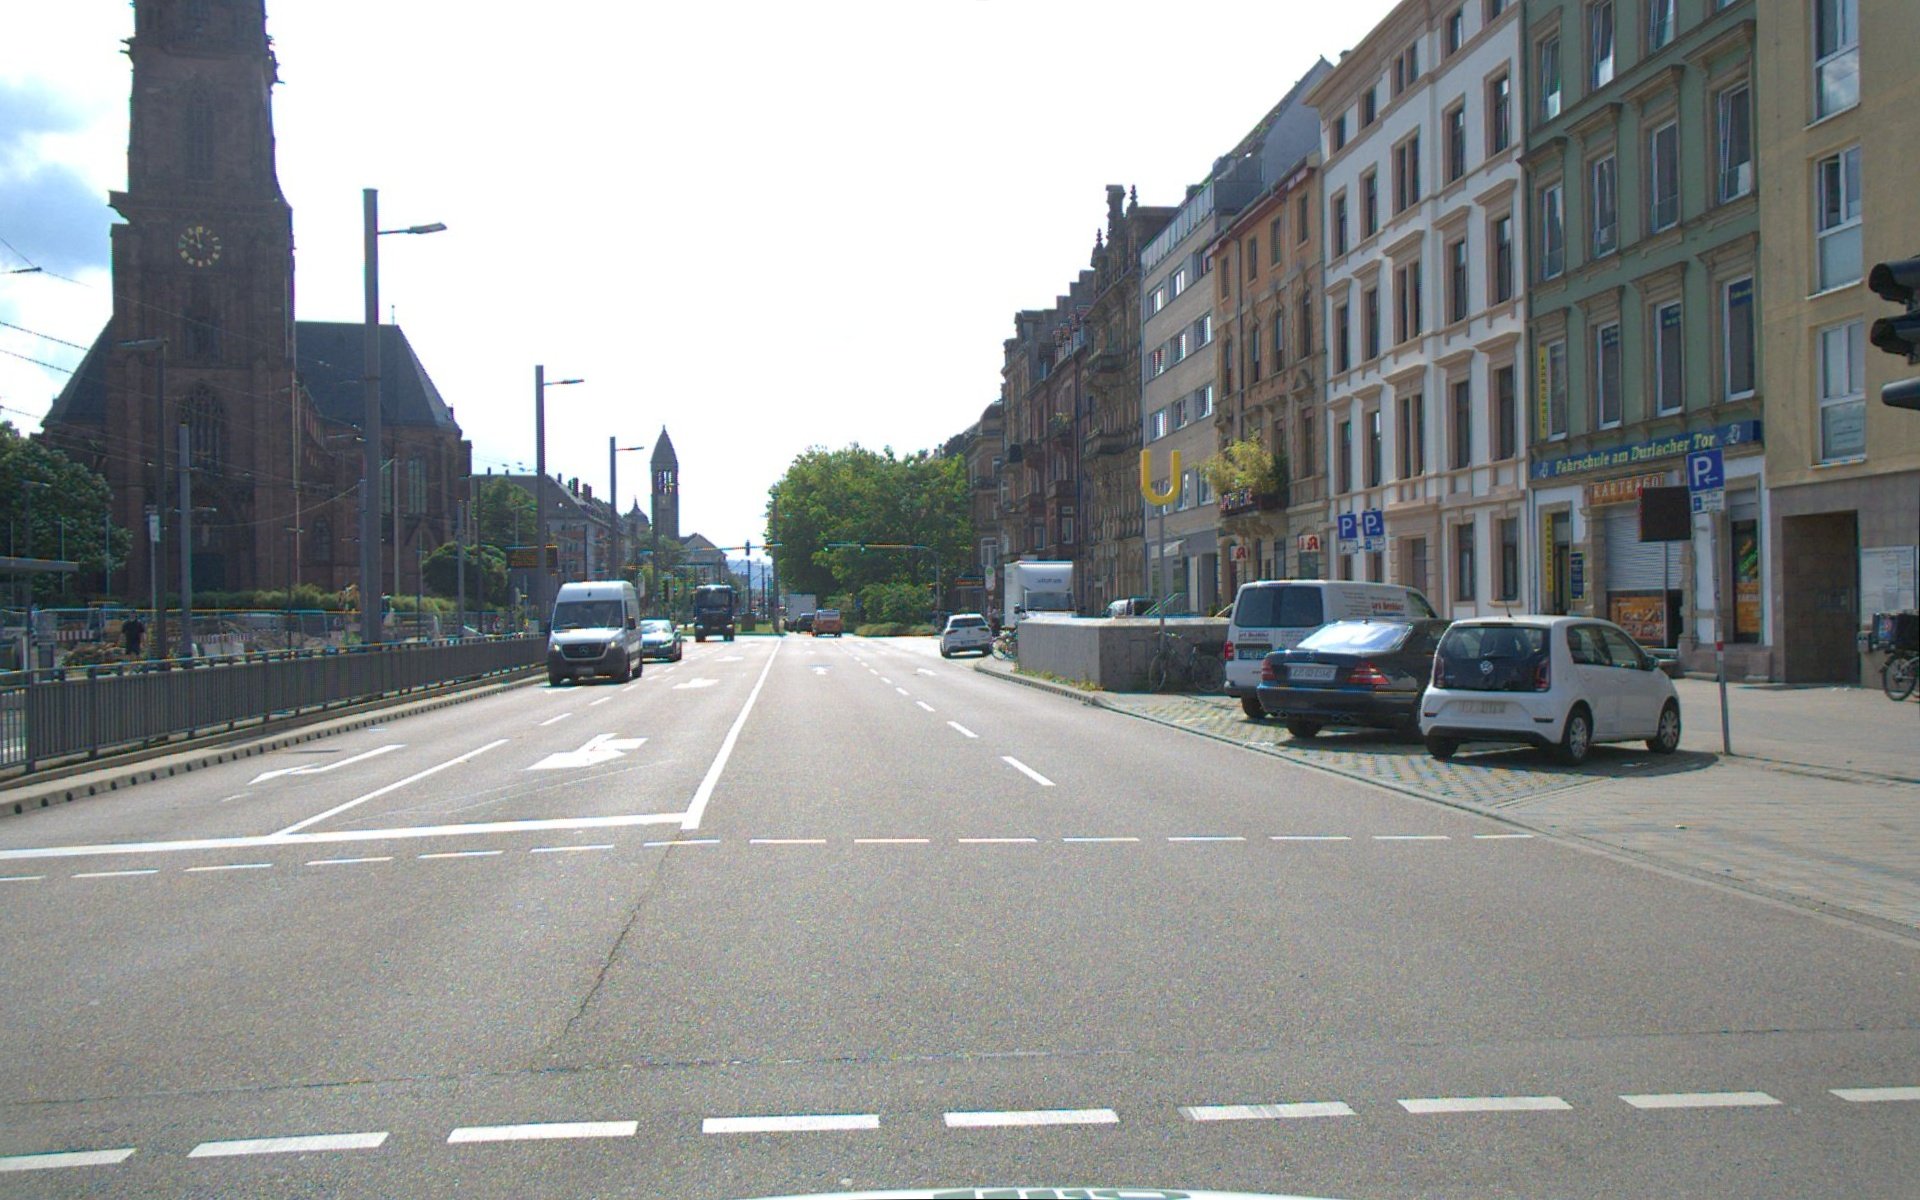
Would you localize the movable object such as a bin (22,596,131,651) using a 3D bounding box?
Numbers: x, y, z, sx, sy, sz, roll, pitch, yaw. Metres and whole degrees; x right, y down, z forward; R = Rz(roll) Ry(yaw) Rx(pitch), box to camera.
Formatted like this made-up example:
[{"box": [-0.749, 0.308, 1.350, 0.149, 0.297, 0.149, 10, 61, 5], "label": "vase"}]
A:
[{"box": [-48.200, 1.272, 90.310, 4.808, 2.851, 1.998, -1, 0, -6], "label": "movable object such as a bin"}]

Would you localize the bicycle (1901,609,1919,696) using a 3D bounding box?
[{"box": [13.904, 0.753, 23.072, 0.477, 1.222, 1.643, -1, 1, -6], "label": "bicycle"}]

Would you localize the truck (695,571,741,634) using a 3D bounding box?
[{"box": [-15.099, 0.154, 103.523, 2.415, 3.712, 7.441, -1, 0, -5], "label": "truck"}]

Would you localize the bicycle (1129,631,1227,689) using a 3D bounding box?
[{"box": [4.093, 1.135, 31.083, 1.741, 1.021, 0.511, 2, 0, -12], "label": "bicycle"}]

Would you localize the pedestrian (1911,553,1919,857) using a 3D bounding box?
[{"box": [6.251, 0.616, 9.680, 0.981, 1.791, 0.778, 2, -3, -30], "label": "pedestrian"}]

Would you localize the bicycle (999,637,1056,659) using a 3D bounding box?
[{"box": [2.038, 1.453, 49.966, 1.741, 0.596, 0.634, 0, 1, 45], "label": "bicycle"}]

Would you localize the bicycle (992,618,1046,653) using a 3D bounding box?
[{"box": [1.935, 1.173, 54.525, 1.727, 1.104, 0.371, 0, 2, -12], "label": "bicycle"}]

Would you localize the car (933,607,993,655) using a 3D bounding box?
[{"box": [0.082, 1.088, 59.218, 1.756, 1.462, 4.340, -4, 1, -4], "label": "car"}]

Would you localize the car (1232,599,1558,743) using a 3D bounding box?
[{"box": [5.537, 0.772, 20.584, 1.857, 1.494, 5.034, 0, 1, 42], "label": "car"}]

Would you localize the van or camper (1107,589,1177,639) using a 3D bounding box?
[{"box": [7.963, 0.594, 72.834, 1.955, 1.938, 5.292, -3, 1, -6], "label": "van or camper"}]

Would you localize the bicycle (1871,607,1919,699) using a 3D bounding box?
[{"box": [13.404, 0.738, 22.958, 0.477, 1.222, 1.643, -1, 1, -6], "label": "bicycle"}]

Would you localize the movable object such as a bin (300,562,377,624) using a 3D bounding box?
[{"box": [-39.781, -0.495, 106.076, 2.610, 3.795, 5.595, 0, 1, 2], "label": "movable object such as a bin"}]

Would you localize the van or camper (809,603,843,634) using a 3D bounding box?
[{"box": [-9.445, 1.302, 116.537, 1.972, 1.948, 4.511, 2, -3, -10], "label": "van or camper"}]

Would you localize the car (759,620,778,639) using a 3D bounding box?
[{"box": [-18.778, 2.900, 162.137, 1.736, 1.691, 3.994, 1, -3, -6], "label": "car"}]

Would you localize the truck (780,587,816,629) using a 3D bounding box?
[{"box": [-14.467, 0.775, 147.921, 3.108, 3.344, 7.286, 0, -4, -6], "label": "truck"}]

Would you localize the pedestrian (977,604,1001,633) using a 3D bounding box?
[{"box": [1.362, 0.875, 78.220, 0.739, 1.339, 0.808, 1, 0, -44], "label": "pedestrian"}]

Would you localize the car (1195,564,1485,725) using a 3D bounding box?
[{"box": [5.790, 0.580, 24.803, 2.044, 2.121, 4.867, 2, 2, 43], "label": "car"}]

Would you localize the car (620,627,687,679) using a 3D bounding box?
[{"box": [-10.707, 1.817, 58.024, 1.814, 1.480, 4.551, -2, 2, -5], "label": "car"}]

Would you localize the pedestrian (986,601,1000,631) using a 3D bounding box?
[{"box": [2.307, 1.116, 115.728, 0.868, 2.049, 0.995, 1, 0, -6], "label": "pedestrian"}]

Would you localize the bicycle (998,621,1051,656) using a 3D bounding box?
[{"box": [2.112, 1.243, 54.026, 1.731, 1.104, 0.370, 0, 2, -18], "label": "bicycle"}]

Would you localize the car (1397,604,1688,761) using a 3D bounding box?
[{"box": [6.277, 0.796, 17.643, 1.690, 1.465, 3.489, 1, 0, 43], "label": "car"}]

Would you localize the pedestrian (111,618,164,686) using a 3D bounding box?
[{"box": [-23.378, 1.462, 47.009, 0.977, 1.830, 1.047, 1, 3, 0], "label": "pedestrian"}]

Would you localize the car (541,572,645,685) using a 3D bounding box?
[{"box": [-9.471, 0.648, 43.129, 1.955, 2.667, 5.573, -2, 1, -6], "label": "car"}]

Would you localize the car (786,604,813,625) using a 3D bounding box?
[{"box": [-12.432, 1.122, 128.235, 1.956, 1.534, 3.993, -1, 0, -7], "label": "car"}]

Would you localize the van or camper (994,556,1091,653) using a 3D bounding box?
[{"box": [3.004, 0.110, 62.274, 2.659, 3.388, 7.633, -1, 1, -4], "label": "van or camper"}]
